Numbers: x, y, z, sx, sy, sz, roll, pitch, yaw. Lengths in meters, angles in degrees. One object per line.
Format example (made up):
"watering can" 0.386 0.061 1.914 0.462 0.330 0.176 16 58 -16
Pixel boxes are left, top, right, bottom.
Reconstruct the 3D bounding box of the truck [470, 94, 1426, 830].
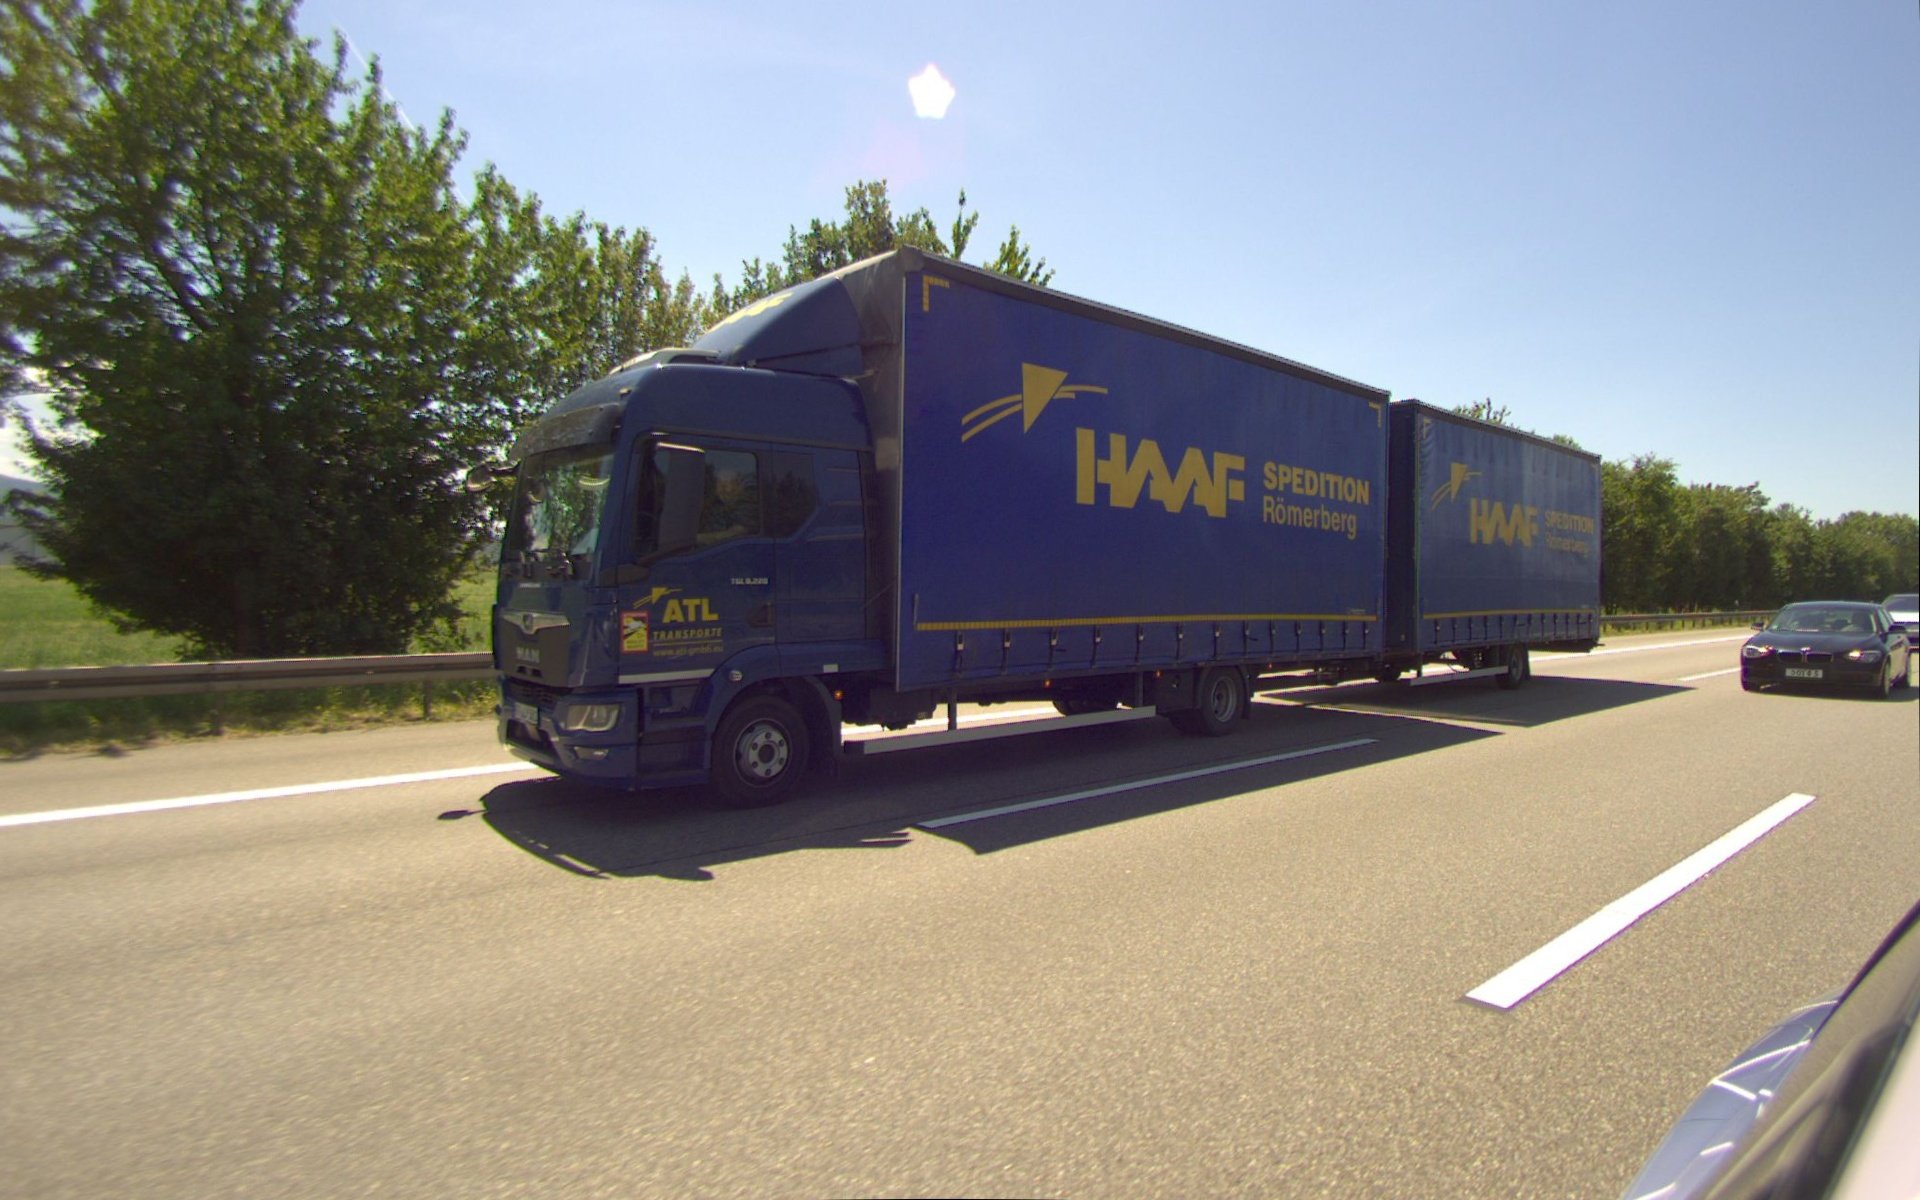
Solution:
"truck" 1.031 -0.849 10.444 10.620 4.257 2.795 0 1 -42

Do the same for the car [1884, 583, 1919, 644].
"car" 27.813 0.369 28.759 3.931 1.664 1.885 0 1 -41

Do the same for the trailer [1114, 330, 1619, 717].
"trailer" 6.926 -0.895 15.708 10.620 4.257 2.795 0 1 -42

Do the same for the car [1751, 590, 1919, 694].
"car" 14.496 0.572 16.412 4.419 1.435 1.839 0 1 -41
